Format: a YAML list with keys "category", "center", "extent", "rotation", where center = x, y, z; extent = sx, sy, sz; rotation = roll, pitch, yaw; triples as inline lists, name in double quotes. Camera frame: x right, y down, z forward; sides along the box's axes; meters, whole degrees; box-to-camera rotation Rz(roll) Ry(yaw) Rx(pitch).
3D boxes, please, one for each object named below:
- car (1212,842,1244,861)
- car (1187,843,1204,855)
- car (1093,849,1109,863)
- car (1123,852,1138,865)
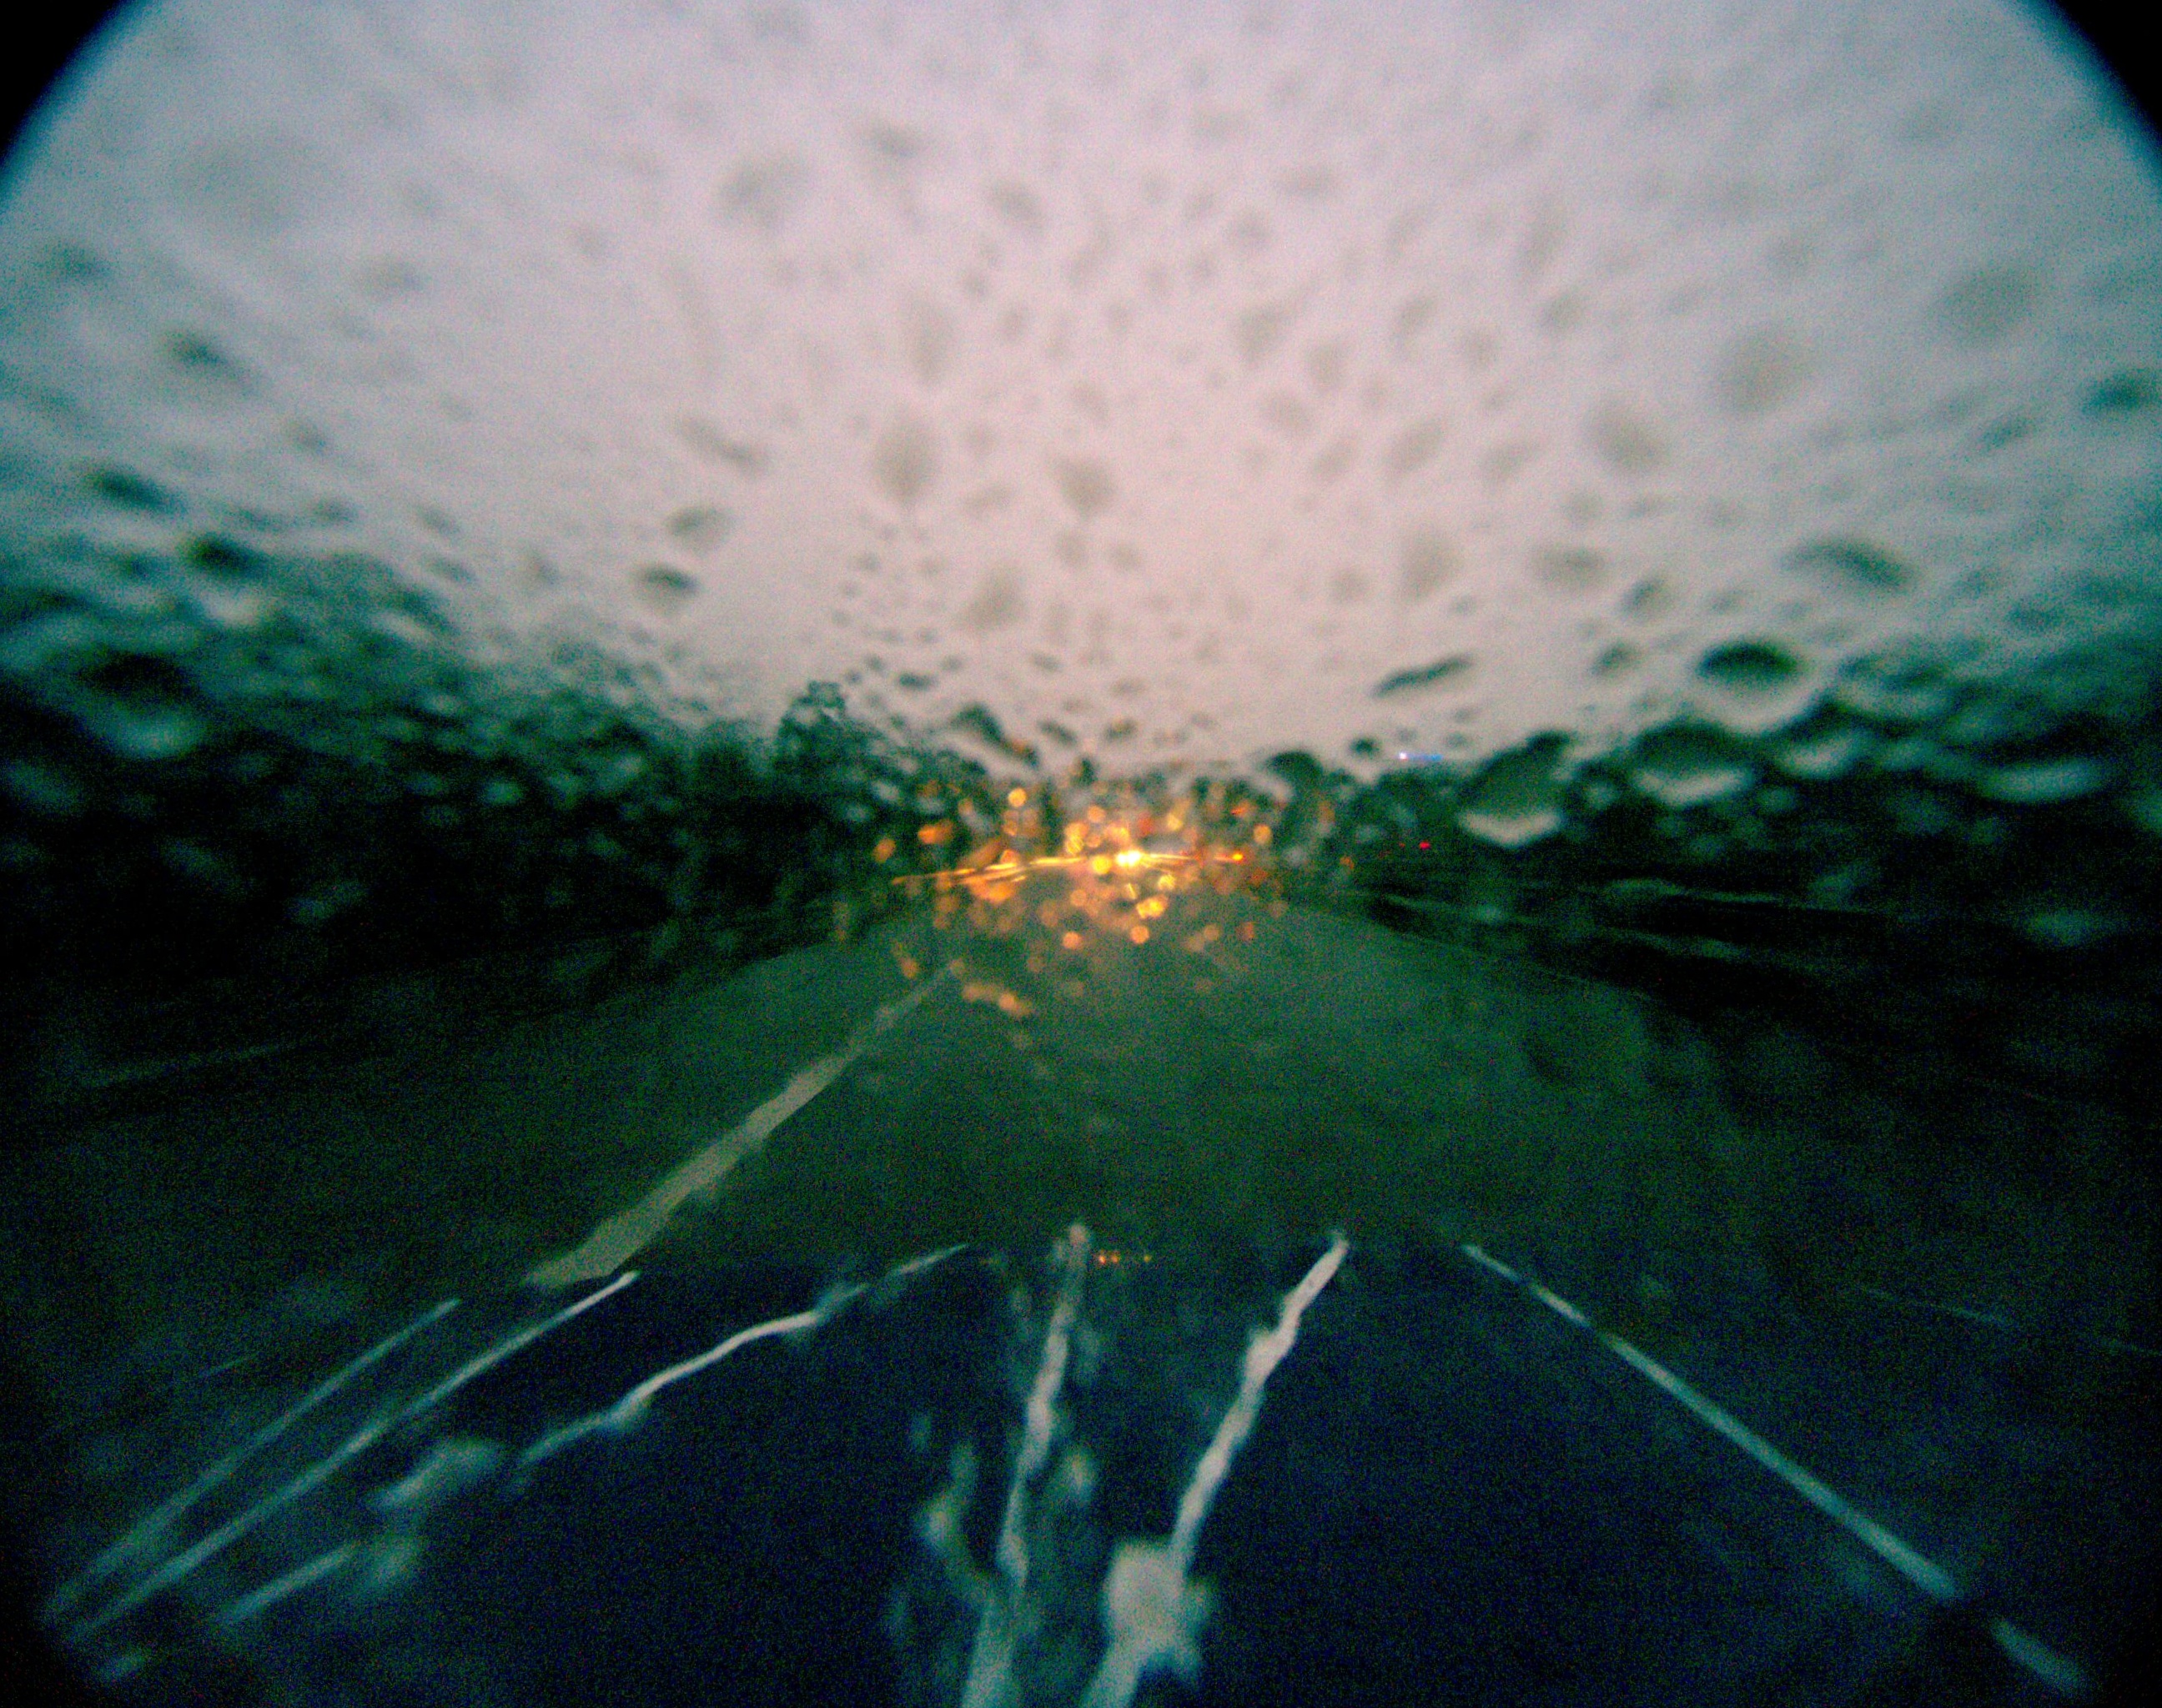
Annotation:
- category: "car"
  center: [12.778, -0.256, 66.097]
  extent: [1.998, 1.563, 3.999]
  rotation: [-2, 1, 0]
- category: "car"
  center: [16.933, -0.741, 112.558]
  extent: [1.998, 1.563, 3.999]
  rotation: [-2, 1, 0]
- category: "car"
  center: [2.178, 0.229, 83.176]
  extent: [1.683, 1.401, 3.774]
  rotation: [-3, 1, 1]
- category: "car"
  center: [8.329, 0.723, 128.139]
  extent: [1.999, 2.002, 3.999]
  rotation: [-4, 0, -3]
